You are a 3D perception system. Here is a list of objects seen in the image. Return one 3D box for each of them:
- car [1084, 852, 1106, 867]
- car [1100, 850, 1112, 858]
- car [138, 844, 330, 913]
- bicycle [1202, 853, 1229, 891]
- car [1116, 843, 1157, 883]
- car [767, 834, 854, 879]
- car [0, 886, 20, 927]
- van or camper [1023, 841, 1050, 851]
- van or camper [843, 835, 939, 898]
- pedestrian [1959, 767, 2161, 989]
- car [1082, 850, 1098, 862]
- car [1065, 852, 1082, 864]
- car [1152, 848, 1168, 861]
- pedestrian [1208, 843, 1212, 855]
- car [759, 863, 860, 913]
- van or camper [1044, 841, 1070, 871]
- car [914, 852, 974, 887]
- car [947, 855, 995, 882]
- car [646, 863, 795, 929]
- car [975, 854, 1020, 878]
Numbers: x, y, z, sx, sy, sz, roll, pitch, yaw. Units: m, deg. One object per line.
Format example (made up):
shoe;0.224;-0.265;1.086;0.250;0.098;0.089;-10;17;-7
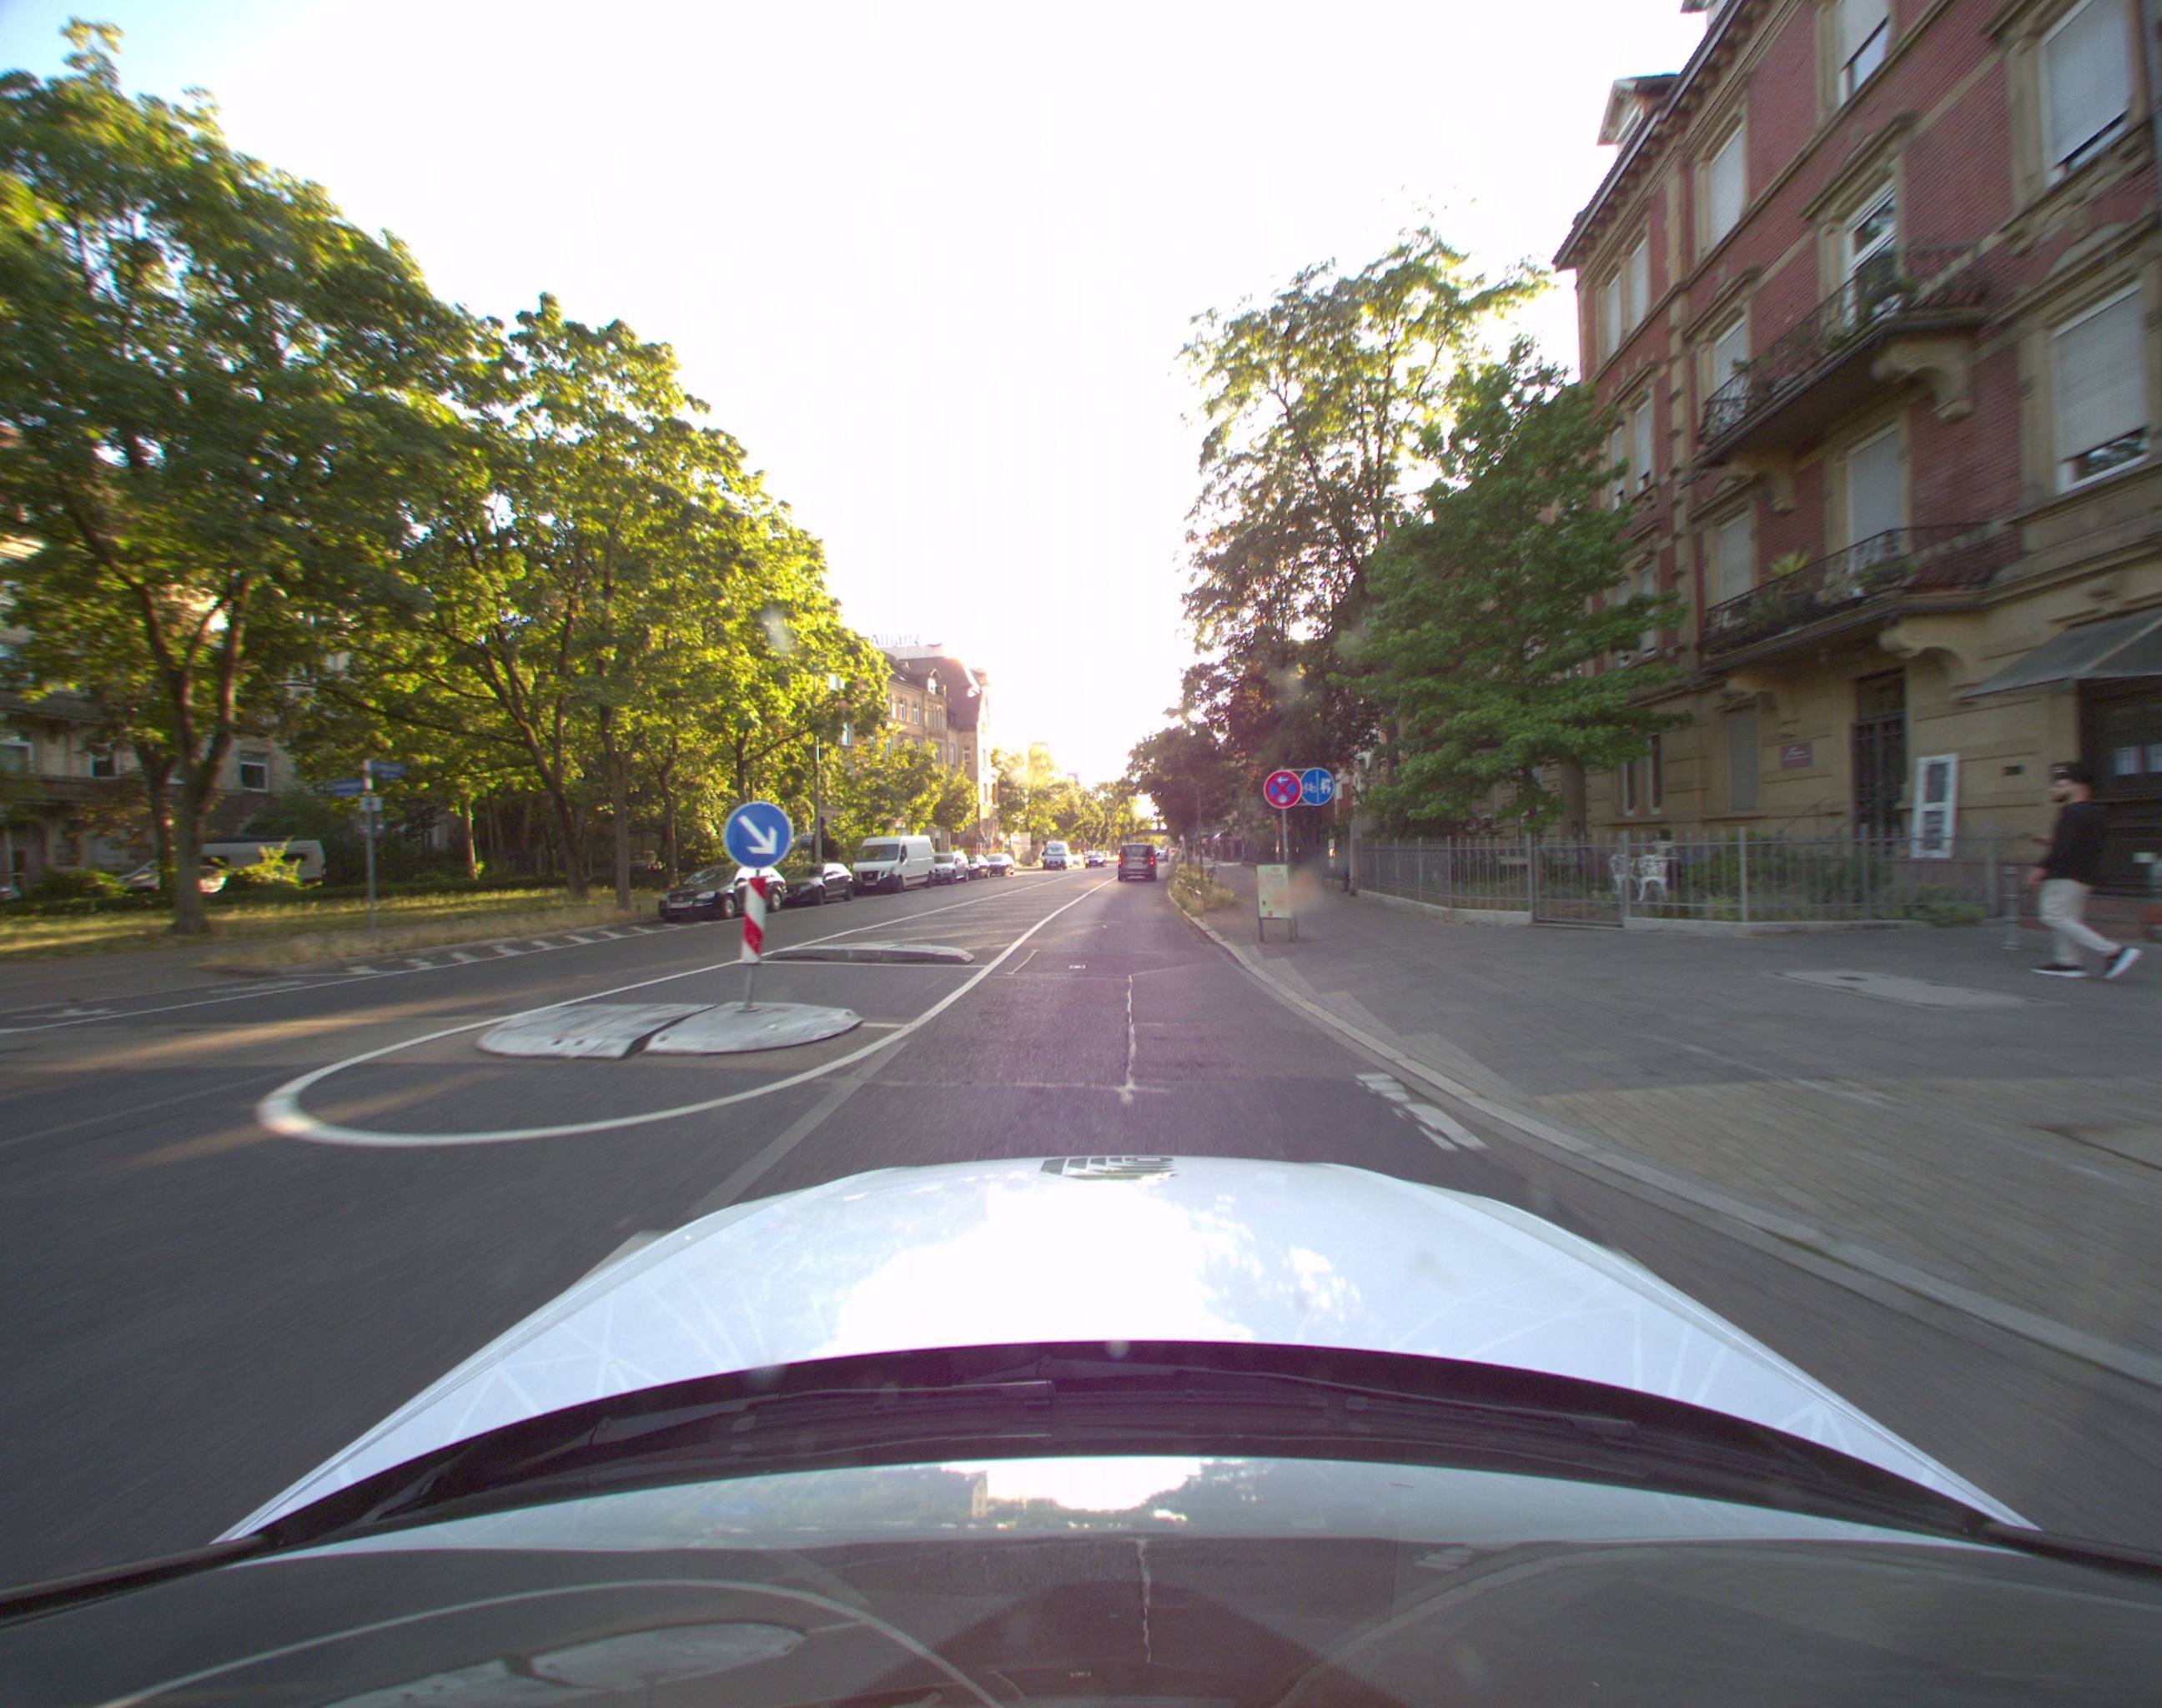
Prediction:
car;1.438;0.526;82.200;1.757;1.402;4.554;-2;0;7
car;4.863;-0.003;156.381;1.983;1.414;4.245;0;1;7
car;-34.640;0.917;33.444;2.244;2.485;5.267;-1;0;40
bicycle;4.288;0.559;26.047;0.643;1.167;1.932;0;0;3
car;2.927;0.429;42.179;1.878;1.925;3.846;-2;0;6
car;-18.215;0.121;55.157;2.099;2.739;5.344;-3;0;32
car;-39.649;1.903;27.819;1.870;1.398;4.025;-1;1;40
van or camper;-11.334;-2.158;208.885;6.532;2.522;2.453;0;0;5
van or camper;-8.246;0.466;36.159;2.080;2.468;6.316;-3;0;6
pedestrian;8.605;0.198;7.162;0.742;1.778;0.832;-5;0;3
car;1.174;0.246;104.880;1.688;1.451;4.007;0;1;6
car;-0.786;0.452;89.968;1.528;1.248;3.620;0;1;6
car;10.436;0.052;107.954;1.984;1.634;4.006;-2;1;5
pedestrian;18.498;-0.731;116.742;0.641;1.633;0.657;0;0;7
car;-9.216;1.116;28.014;1.620;1.429;4.249;-3;0;6
van or camper;-2.211;0.141;75.763;1.985;2.668;6.043;0;0;3
car;-7.209;0.771;43.329;1.856;1.645;4.579;-2;0;6
car;-6.564;0.851;48.914;1.727;1.445;4.633;-2;0;6
car;-9.789;1.087;22.576;1.615;1.506;4.553;-2;0;7
car;-5.586;0.771;55.270;1.983;1.483;4.838;-2;0;6
